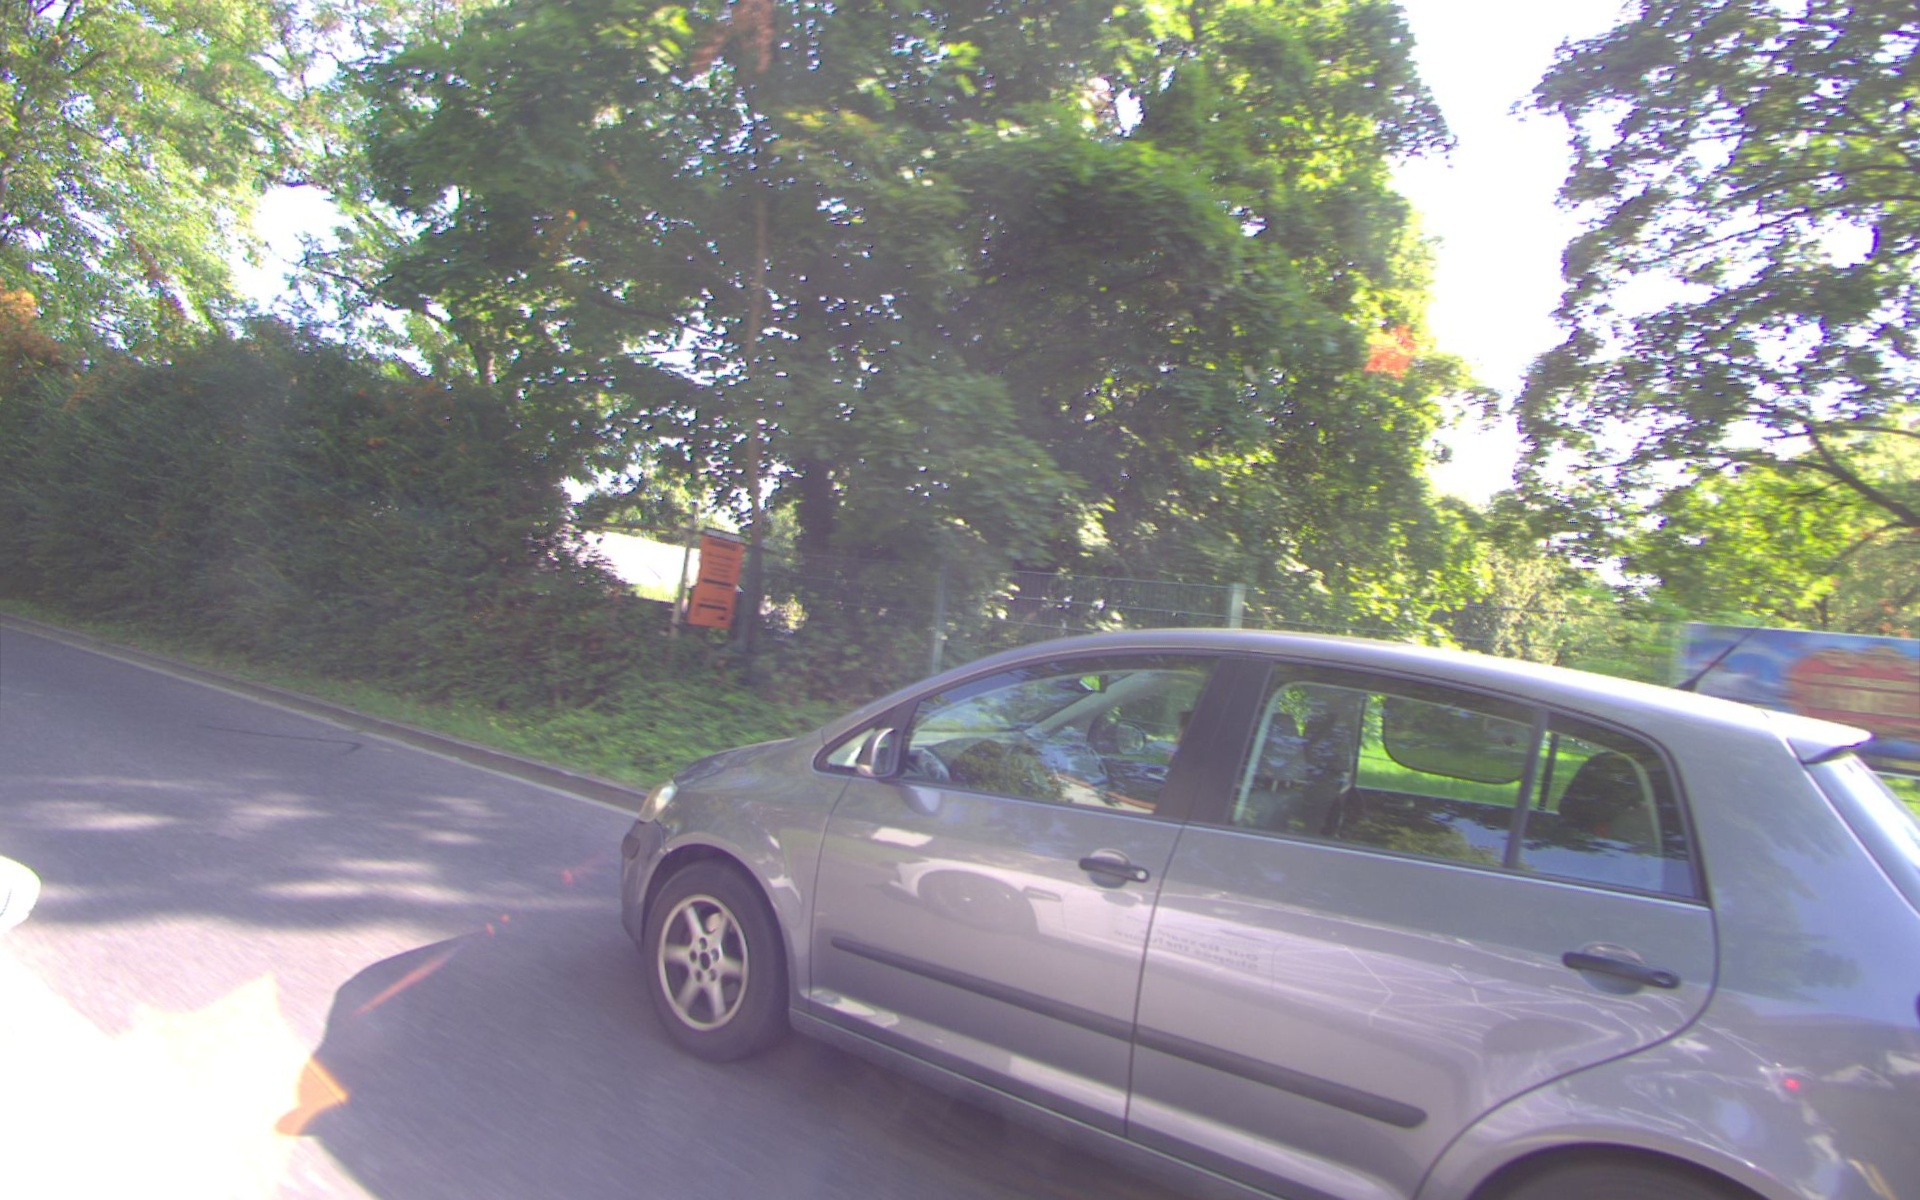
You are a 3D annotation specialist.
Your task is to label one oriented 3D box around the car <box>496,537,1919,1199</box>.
[{"bbox_3d":[0.448,0.821,3.383,3.834,1.573,1.649,6,-3,32],"label":"car"}]
